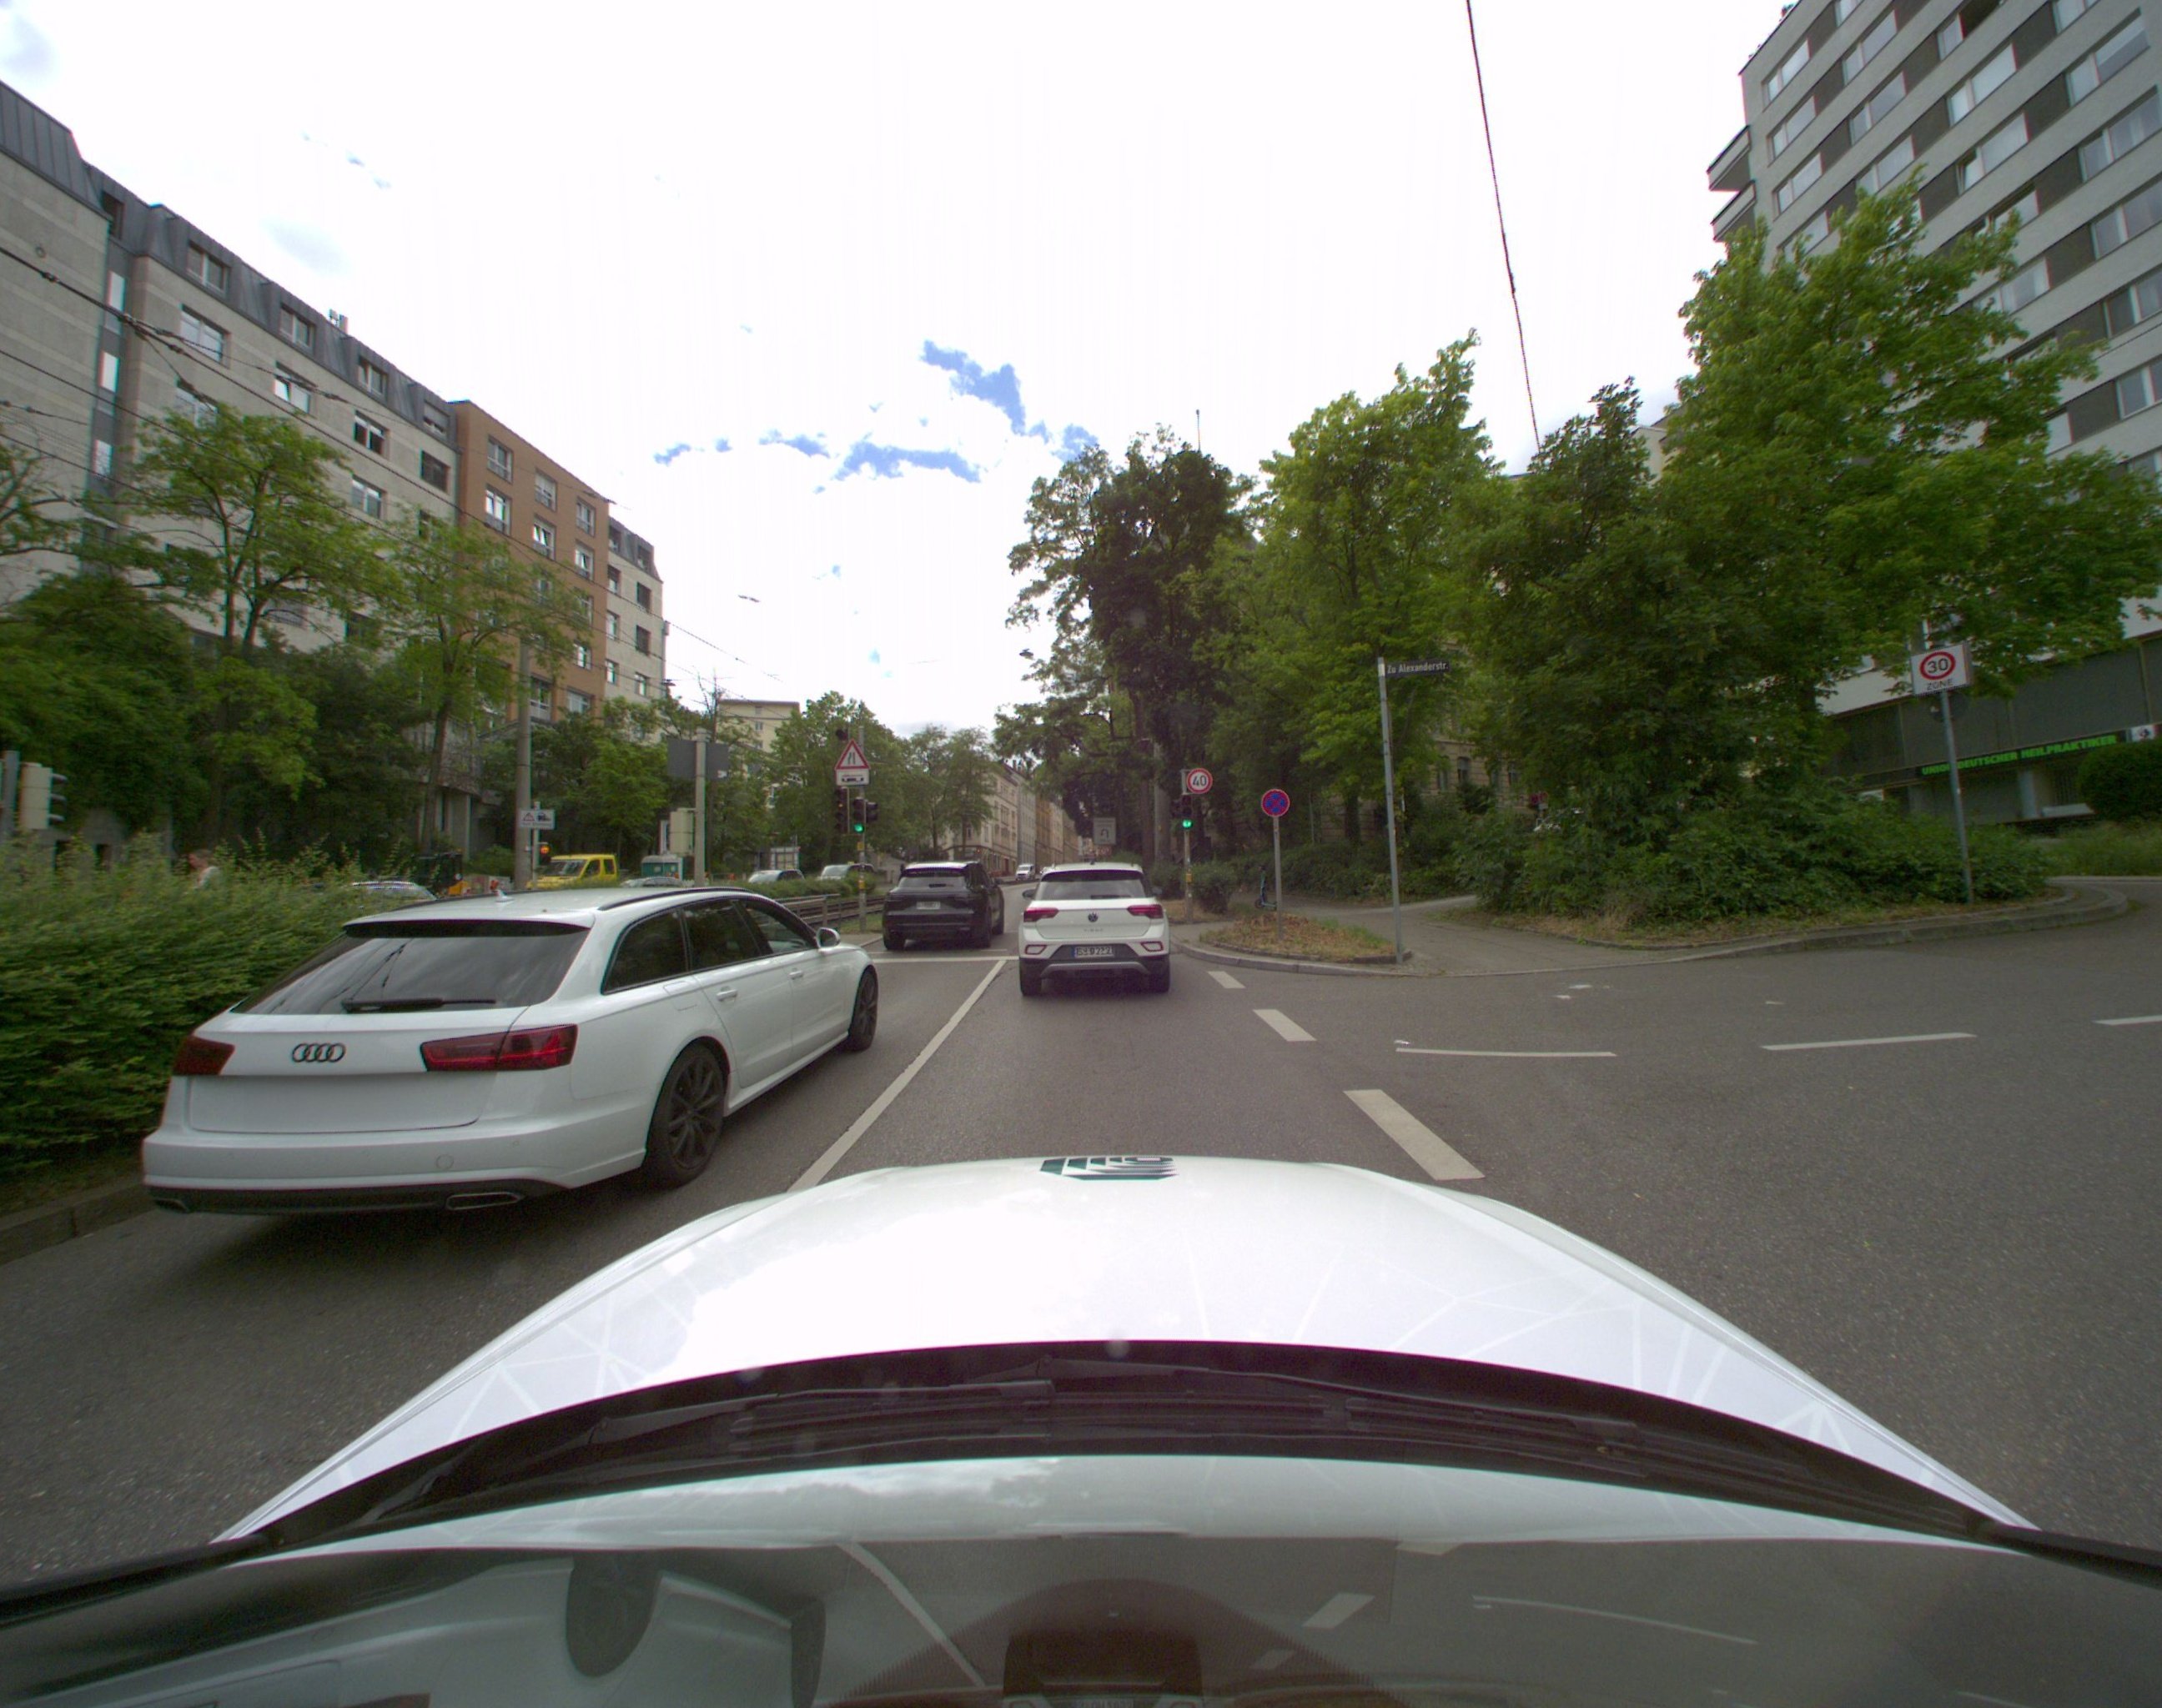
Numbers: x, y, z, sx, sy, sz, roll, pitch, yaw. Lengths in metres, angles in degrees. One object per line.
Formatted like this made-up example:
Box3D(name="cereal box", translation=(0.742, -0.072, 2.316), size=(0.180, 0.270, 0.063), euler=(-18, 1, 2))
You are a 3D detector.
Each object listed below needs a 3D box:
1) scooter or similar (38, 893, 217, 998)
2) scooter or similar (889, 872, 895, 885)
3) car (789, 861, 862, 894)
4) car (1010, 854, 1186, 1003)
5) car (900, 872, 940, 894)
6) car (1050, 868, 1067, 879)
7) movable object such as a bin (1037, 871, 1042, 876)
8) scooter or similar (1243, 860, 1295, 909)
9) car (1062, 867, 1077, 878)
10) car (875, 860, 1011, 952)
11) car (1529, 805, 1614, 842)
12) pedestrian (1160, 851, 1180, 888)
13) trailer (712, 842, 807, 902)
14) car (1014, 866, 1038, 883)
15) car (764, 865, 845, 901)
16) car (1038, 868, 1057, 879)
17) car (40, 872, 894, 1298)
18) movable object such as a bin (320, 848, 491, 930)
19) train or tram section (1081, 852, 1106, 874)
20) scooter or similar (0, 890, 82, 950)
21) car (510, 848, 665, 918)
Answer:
Box3D(name="scooter or similar", translation=(-13.140, 1.222, 11.275), size=(1.502, 1.296, 0.528), euler=(-2, -1, -29))
Box3D(name="scooter or similar", translation=(-18.306, 2.341, 78.982), size=(0.490, 1.219, 1.634), euler=(1, -2, -12))
Box3D(name="car", translation=(-13.774, 1.243, 44.236), size=(1.983, 1.605, 4.618), euler=(-2, -1, 7))
Box3D(name="car", translation=(0.155, 0.840, 10.850), size=(1.873, 1.555, 3.998), euler=(-2, -1, -1))
Box3D(name="car", translation=(-11.516, 2.068, 58.557), size=(1.649, 1.443, 3.748), euler=(-2, -1, 8))
Box3D(name="car", translation=(-3.376, 2.844, 121.777), size=(1.984, 1.552, 4.006), euler=(-2, -1, 5))
Box3D(name="movable object such as a bin", translation=(-7.245, 3.373, 142.012), size=(0.774, 0.948, 0.655), euler=(-2, -1, 7))
Box3D(name="scooter or similar", translation=(4.875, 0.778, 21.209), size=(0.631, 1.210, 1.550), euler=(-2, -1, -14))
Box3D(name="car", translation=(-1.848, 2.996, 131.989), size=(1.984, 1.552, 4.006), euler=(-2, -1, 5))
Box3D(name="car", translation=(-2.630, 0.956, 16.647), size=(2.032, 1.571, 4.356), euler=(-2, -1, -1))
Box3D(name="car", translation=(33.124, -2.059, 54.967), size=(5.225, 1.933, 2.161), euler=(-5, -3, -24))
Box3D(name="pedestrian", translation=(4.248, 0.743, 38.836), size=(0.770, 1.703, 0.784), euler=(-2, -1, -5))
Box3D(name="trailer", translation=(-16.751, 0.930, 42.789), size=(2.007, 2.973, 5.604), euler=(0, -1, 9))
Box3D(name="car", translation=(-6.672, 2.422, 98.883), size=(1.937, 1.946, 5.012), euler=(-2, 0, 7))
Box3D(name="car", translation=(-13.808, 1.400, 40.986), size=(1.983, 1.605, 4.628), euler=(-2, -1, 7))
Box3D(name="car", translation=(-4.707, 2.729, 114.341), size=(1.984, 1.552, 4.006), euler=(-2, -1, 5))
Box3D(name="car", translation=(-2.764, 0.885, 5.250), size=(1.872, 1.455, 4.619), euler=(-2, -1, 2))
Box3D(name="movable object such as a bin", translation=(-21.859, 1.070, 26.612), size=(1.924, 2.468, 4.104), euler=(0, 0, 5))
Box3D(name="train or tram section", translation=(2.292, 1.580, 144.239), size=(2.867, 3.726, 14.881), euler=(0, -1, 6))
Box3D(name="scooter or similar", translation=(-24.491, 1.535, 19.191), size=(0.427, 1.289, 1.288), euler=(-2, 0, -9))
Box3D(name="car", translation=(-20.469, 1.140, 34.244), size=(2.146, 2.594, 6.345), euler=(-2, -1, 5))
